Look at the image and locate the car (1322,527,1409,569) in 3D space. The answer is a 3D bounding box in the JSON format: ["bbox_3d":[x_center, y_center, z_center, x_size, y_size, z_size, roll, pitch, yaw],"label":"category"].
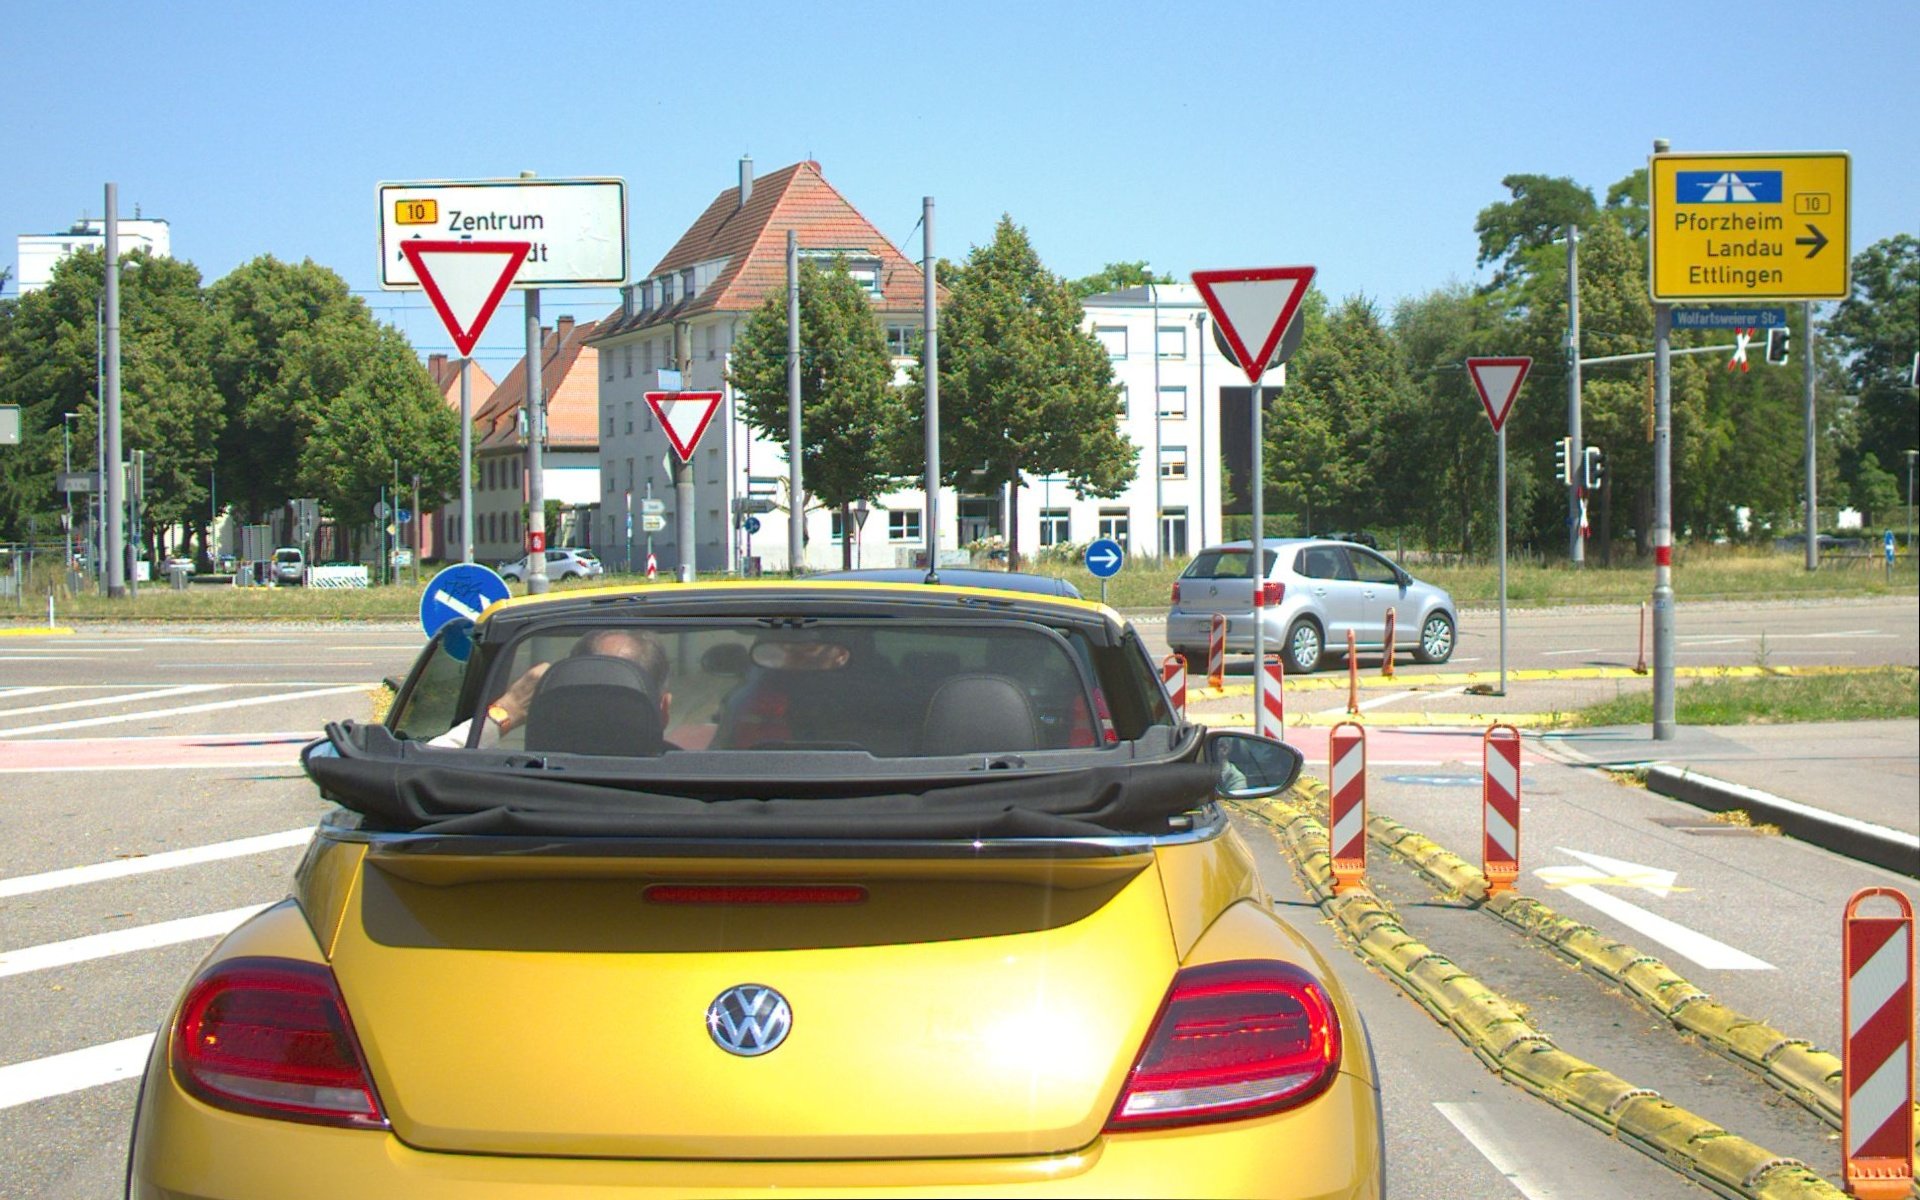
[{"bbox_3d":[19.912,-2.548,168.945,3.990,2.007,1.999,1,0,15],"label":"car"}]

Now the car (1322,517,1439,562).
[{"bbox_3d":[16.125,-2.307,131.841,3.986,1.678,2.001,1,1,-13],"label":"car"}]

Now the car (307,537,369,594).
[{"bbox_3d":[-22.843,-1.272,126.132,1.993,2.007,4.001,1,1,-13],"label":"car"}]

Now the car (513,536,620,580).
[{"bbox_3d":[-15.058,-1.598,131.670,3.986,1.612,2.000,1,0,-4],"label":"car"}]

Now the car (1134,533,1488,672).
[{"bbox_3d":[3.943,-0.005,38.224,3.990,1.417,1.781,-2,2,-45],"label":"car"}]

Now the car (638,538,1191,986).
[{"bbox_3d":[-0.330,0.511,13.730,1.796,1.435,4.001,-1,2,-7],"label":"car"}]

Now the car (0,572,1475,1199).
[{"bbox_3d":[-0.315,0.681,5.992,1.825,1.398,3.662,0,1,-1],"label":"car"}]

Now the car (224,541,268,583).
[{"bbox_3d":[-34.539,-1.838,166.233,1.993,2.007,4.001,1,1,-13],"label":"car"}]
